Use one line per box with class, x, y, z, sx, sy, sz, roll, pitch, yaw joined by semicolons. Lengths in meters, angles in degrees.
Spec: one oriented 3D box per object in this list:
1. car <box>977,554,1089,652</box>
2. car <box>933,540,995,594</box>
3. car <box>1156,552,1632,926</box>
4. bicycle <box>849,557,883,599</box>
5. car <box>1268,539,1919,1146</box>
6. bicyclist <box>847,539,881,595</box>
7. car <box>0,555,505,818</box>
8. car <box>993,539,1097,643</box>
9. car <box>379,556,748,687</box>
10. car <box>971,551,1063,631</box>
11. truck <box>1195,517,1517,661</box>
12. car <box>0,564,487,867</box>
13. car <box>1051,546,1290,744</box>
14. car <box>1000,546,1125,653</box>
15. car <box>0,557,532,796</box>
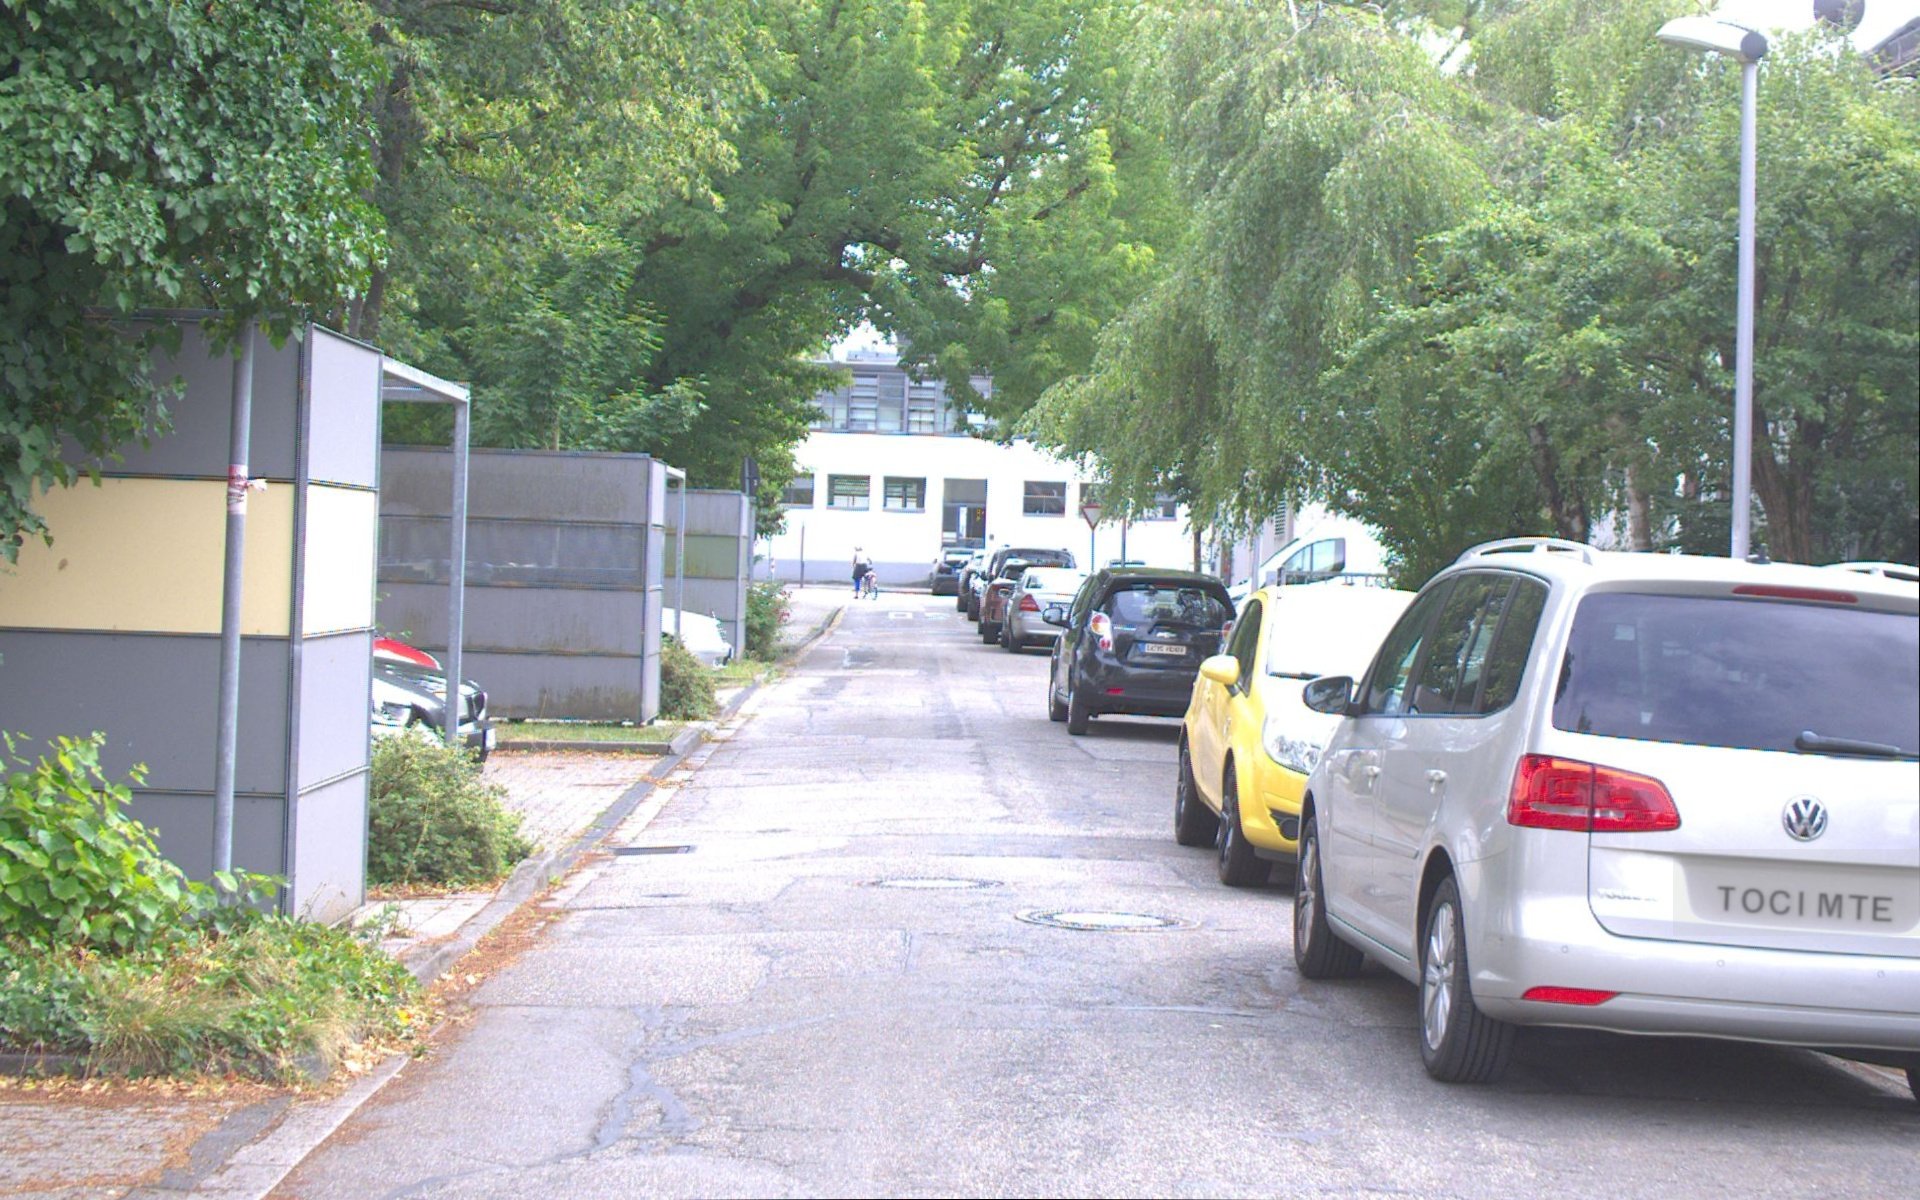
car;1.291;0.027;62.379;1.825;1.576;4.000;4;1;0
car;0.118;-1.059;109.096;1.825;1.576;4.000;4;1;0
car;2.099;0.610;17.729;1.825;1.576;4.000;4;1;0
bicycle;-2.651;-0.634;96.900;0.688;1.127;2.580;4;1;-6
car;2.243;0.651;11.434;1.825;1.576;4.001;4;1;-2
bicyclist;-2.700;-0.939;96.943;0.798;1.506;0.934;4;0;-5
car;-4.863;0.486;20.827;3.986;1.459;1.738;1;1;-1
car;1.666;-0.211;68.355;1.825;1.877;4.000;4;1;0
car;-4.500;0.231;39.426;4.031;1.389;1.738;1;1;-1
car;1.333;-0.233;81.629;1.993;1.714;4.194;4;1;0
truck;5.698;-0.170;49.851;4.390;2.007;2.000;0;1;-1
car;-4.607;0.558;18.121;3.986;1.459;1.738;1;1;-1
car;1.869;0.353;31.759;1.825;1.576;4.193;4;1;0
car;1.661;-0.035;56.804;1.825;1.576;4.000;4;1;0
car;-4.971;0.482;23.038;3.986;1.459;1.738;1;1;-1
